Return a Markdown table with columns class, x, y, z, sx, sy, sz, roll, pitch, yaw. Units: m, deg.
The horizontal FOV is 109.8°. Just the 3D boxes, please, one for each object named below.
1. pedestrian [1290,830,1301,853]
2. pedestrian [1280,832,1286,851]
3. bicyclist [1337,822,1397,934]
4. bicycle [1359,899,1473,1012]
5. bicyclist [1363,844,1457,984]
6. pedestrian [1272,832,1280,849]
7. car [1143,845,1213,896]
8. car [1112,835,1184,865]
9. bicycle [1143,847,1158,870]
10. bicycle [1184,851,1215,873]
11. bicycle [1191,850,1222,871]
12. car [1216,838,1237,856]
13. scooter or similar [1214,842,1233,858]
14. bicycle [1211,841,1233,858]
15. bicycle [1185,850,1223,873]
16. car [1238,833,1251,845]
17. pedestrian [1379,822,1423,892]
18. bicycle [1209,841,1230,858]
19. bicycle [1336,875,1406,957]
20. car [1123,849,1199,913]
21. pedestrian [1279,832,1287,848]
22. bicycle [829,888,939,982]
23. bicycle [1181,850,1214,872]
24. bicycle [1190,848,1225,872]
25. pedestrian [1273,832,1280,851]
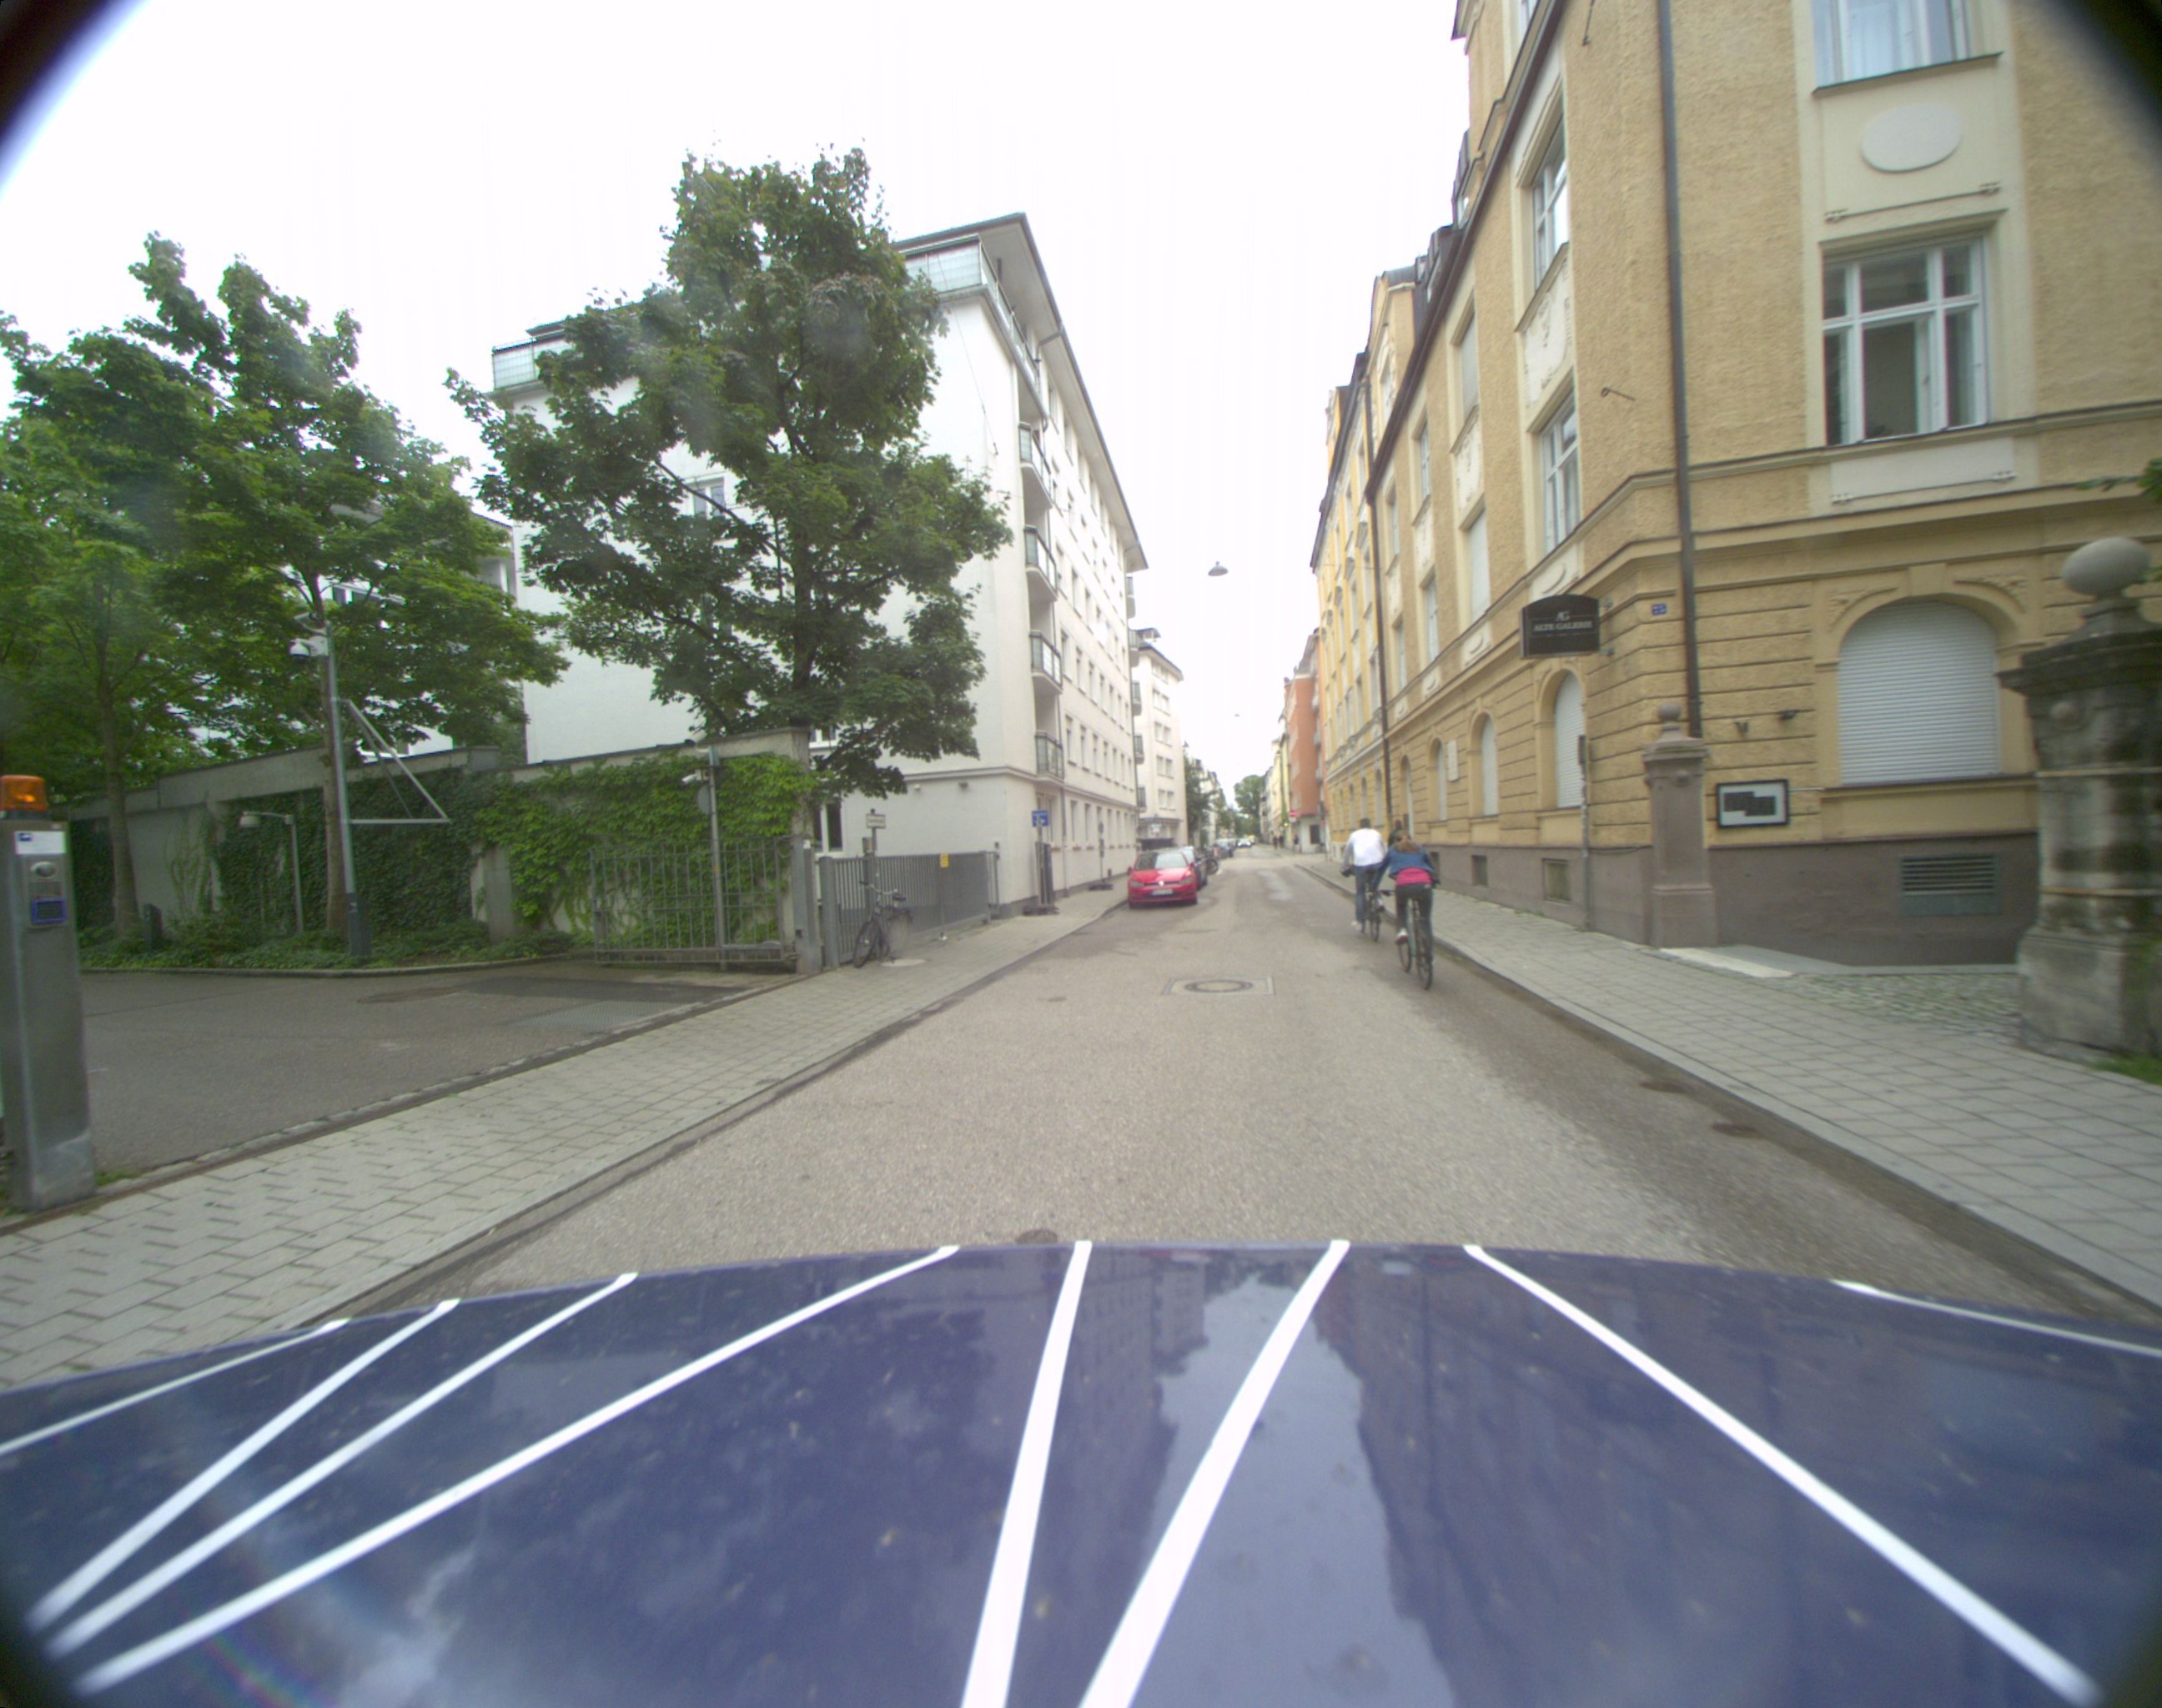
| class | x | y | z | sx | sy | sz | roll | pitch | yaw |
| --- | --- | --- | --- | --- | --- | --- | --- | --- | --- |
| pedestrian | 16.609 | -0.962 | 58.806 | 0.612 | 1.684 | 0.566 | -3 | 1 | 4 |
| pedestrian | 22.129 | -1.380 | 83.307 | 0.634 | 2.002 | 0.788 | -2 | 1 | 13 |
| bicyclist | 4.358 | 0.348 | 11.628 | 0.660 | 1.633 | 0.896 | -3 | 1 | 12 |
| bicycle | 3.450 | 1.011 | 7.987 | 0.709 | 0.900 | 1.811 | -3 | 1 | 12 |
| bicyclist | 3.427 | 0.601 | 7.973 | 0.709 | 1.363 | 0.814 | -3 | 1 | 12 |
| pedestrian | 21.362 | -1.448 | 83.205 | 0.725 | 1.783 | 0.830 | -2 | 1 | 13 |
| car | 3.427 | 0.506 | 26.124 | 1.797 | 1.430 | 4.387 | -4 | 1 | 14 |
| car | 4.746 | -0.267 | 53.783 | 4.673 | 1.880 | 1.936 | -2 | 1 | 21 |
| bicycle | 3.860 | 0.230 | 42.269 | 0.399 | 1.198 | 1.504 | -2 | 2 | -12 |
| bicycle | 5.630 | 0.364 | 36.119 | 1.437 | 1.038 | 0.330 | 0 | 2 | 21 |
| bicycle | 6.158 | 0.324 | 37.283 | 1.440 | 1.038 | 0.360 | 0 | 2 | 21 |
| car | 12.711 | -0.607 | 66.159 | 1.652 | 1.391 | 4.003 | -3 | 1 | 13 |
| scooter or similar | 10.993 | -0.310 | 58.525 | 1.339 | 1.207 | 0.345 | -2 | 2 | 15 |
| bicycle | 11.112 | -0.344 | 59.955 | 1.606 | 1.207 | 0.529 | -3 | 1 | 15 |
| bicycle | 5.771 | 0.369 | 35.610 | 1.705 | 1.038 | 0.360 | -1 | 2 | 13 |
| car | 25.043 | -2.306 | 116.371 | 1.928 | 1.795 | 4.447 | -3 | 1 | 12 |
| pedestrian | 7.983 | 0.068 | 18.976 | 0.714 | 1.656 | 0.930 | -6 | 1 | 12 |
| bicycle | 11.043 | -0.353 | 60.561 | 1.606 | 1.207 | 0.529 | -3 | 1 | 15 |
| bicycle | 4.401 | 0.906 | 11.664 | 0.662 | 1.033 | 2.006 | -3 | 1 | 12 |
| car | 2.232 | 0.658 | 20.976 | 1.764 | 1.438 | 4.300 | -5 | 1 | 7 |
| pedestrian | 22.108 | -1.539 | 83.155 | 0.699 | 1.783 | 0.764 | -2 | 1 | 13 |
| bicycle | -2.768 | 1.108 | 10.889 | 0.708 | 1.191 | 1.836 | -3 | -2 | 13 |
| bicycle | 5.687 | 0.342 | 37.042 | 1.519 | 1.038 | 0.360 | 0 | 2 | 21 |
| bicycle | 6.468 | 0.296 | 38.927 | 1.698 | 1.154 | 0.378 | -3 | 1 | 12 |
| pedestrian | 21.422 | -1.346 | 83.213 | 0.634 | 2.002 | 0.788 | -2 | 1 | 13 |
